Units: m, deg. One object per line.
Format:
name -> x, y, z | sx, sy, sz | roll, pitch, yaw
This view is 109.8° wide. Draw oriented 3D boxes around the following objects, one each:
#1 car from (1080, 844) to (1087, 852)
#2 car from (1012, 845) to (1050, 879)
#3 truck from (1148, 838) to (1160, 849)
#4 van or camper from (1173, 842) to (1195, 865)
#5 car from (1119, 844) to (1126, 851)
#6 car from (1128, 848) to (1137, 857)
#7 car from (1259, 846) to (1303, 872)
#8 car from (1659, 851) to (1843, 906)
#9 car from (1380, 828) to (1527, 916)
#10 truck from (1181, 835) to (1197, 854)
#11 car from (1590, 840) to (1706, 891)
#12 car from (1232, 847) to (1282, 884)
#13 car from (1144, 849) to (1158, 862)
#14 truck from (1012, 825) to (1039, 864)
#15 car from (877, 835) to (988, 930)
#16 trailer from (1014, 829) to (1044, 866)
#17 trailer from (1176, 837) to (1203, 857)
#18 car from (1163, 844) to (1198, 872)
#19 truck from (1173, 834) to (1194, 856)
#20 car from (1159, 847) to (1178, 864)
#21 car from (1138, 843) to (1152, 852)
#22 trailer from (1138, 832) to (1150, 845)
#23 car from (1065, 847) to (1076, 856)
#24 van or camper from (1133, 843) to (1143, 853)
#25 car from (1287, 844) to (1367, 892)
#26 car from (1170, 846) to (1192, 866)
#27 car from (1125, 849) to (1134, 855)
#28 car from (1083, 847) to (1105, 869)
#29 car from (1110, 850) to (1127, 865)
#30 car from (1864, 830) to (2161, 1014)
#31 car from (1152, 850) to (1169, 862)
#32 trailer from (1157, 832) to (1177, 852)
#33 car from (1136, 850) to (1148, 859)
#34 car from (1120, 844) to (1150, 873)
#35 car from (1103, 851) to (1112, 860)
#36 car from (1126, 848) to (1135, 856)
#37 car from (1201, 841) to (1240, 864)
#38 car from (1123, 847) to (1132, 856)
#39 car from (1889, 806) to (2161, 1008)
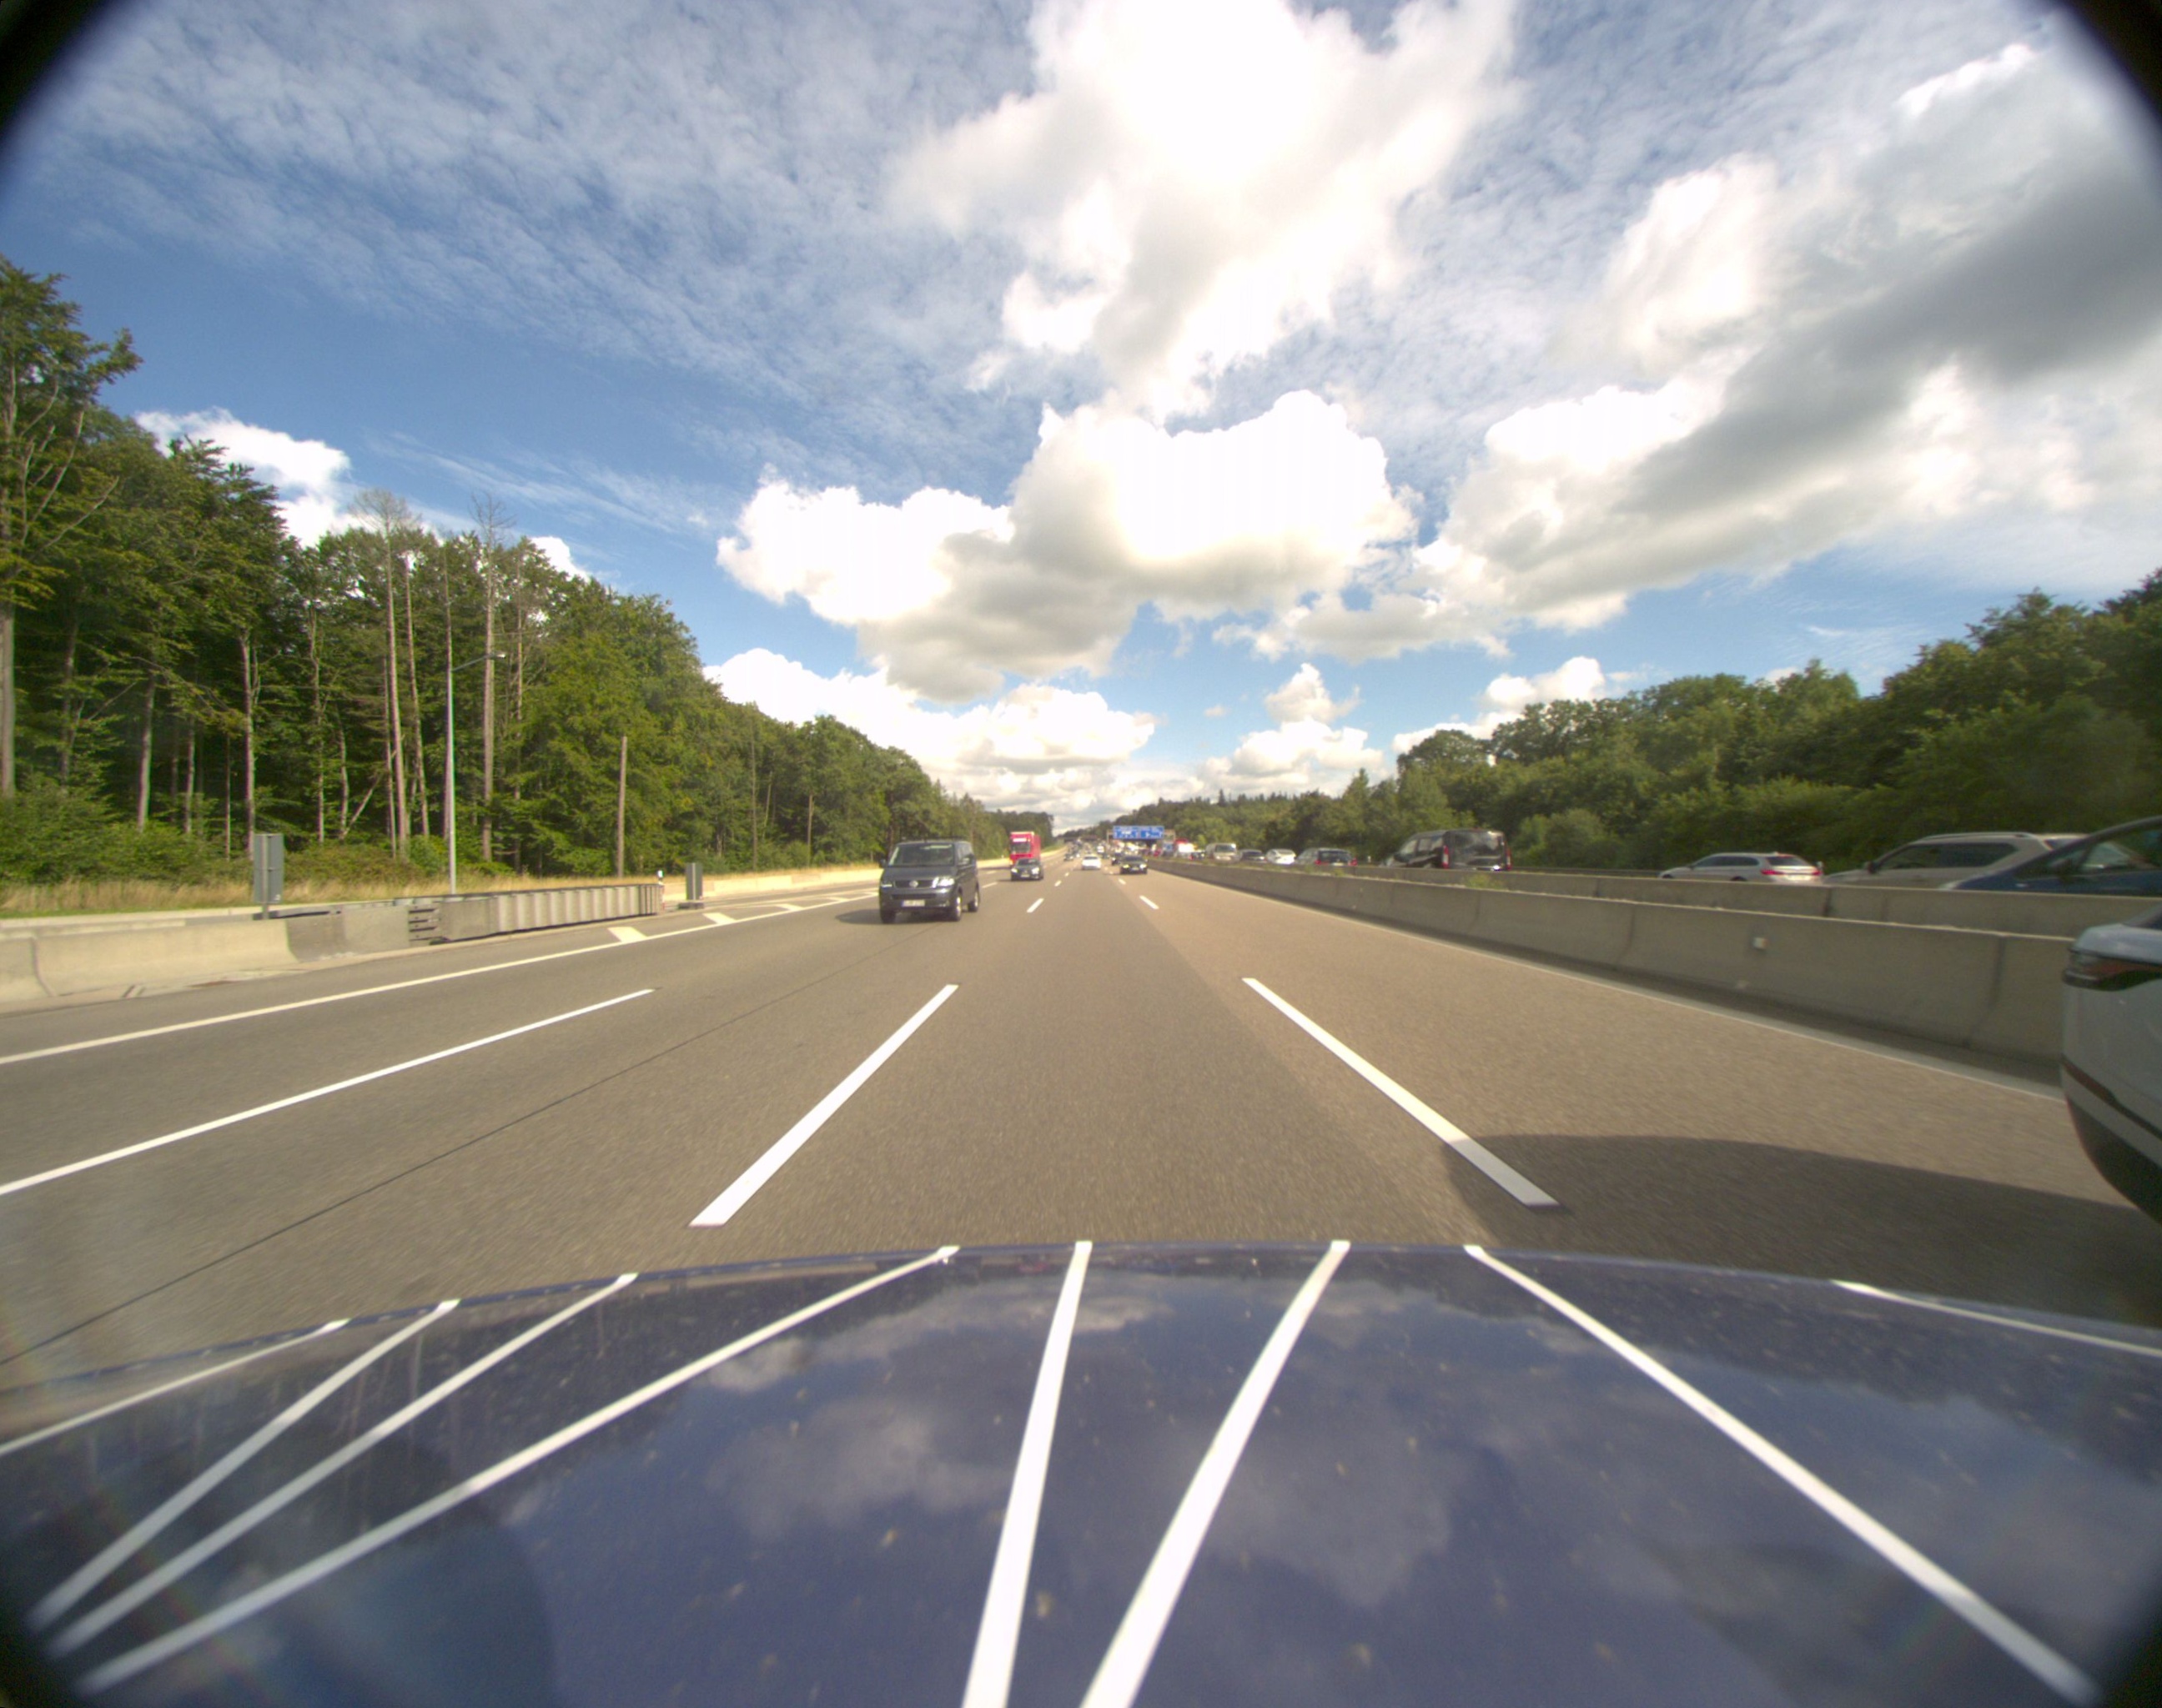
car -> 0.582, -1.580, 198.054 | 1.804, 1.865, 3.950 | -1, 1, 1
car -> -3.078, 0.485, 47.835 | 1.998, 2.002, 4.000 | 0, 0, 2
truck -> 19.274, -2.761, 199.866 | 2.334, 2.785, 7.947 | -3, 1, 0
van or camper -> 14.773, -0.063, 109.138 | 2.144, 3.154, 6.243 | -3, 1, 0
car -> 13.427, -2.096, 244.880 | 1.998, 2.088, 5.276 | -2, 2, 1
car -> 11.615, -0.250, 170.754 | 1.691, 1.806, 4.294 | -2, 2, 0
car -> 14.410, 0.299, 54.935 | 1.998, 1.723, 4.762 | -2, 1, 2
car -> 21.697, 0.705, 24.956 | 1.716, 1.393, 5.071 | -2, 2, 2
car -> 9.689, 0.356, 20.203 | 1.821, 2.002, 4.451 | -2, 2, 2
truck -> 25.143, -2.231, 177.069 | 2.819, 4.126, 5.451 | -2, 2, 0
car -> 26.177, 0.621, 35.309 | 1.998, 2.000, 4.463 | -2, -5, 2
car -> 10.325, 0.623, 44.949 | 1.998, 1.894, 4.458 | -3, 1, 2
car -> 10.874, 0.184, 118.246 | 1.691, 1.806, 4.294 | -2, 2, 0
truck -> -6.133, -1.057, 85.130 | 2.532, 4.179, 4.652 | -2, 2, 0
car -> -3.704, 0.618, 19.881 | 1.927, 2.153, 4.960 | -1, 1, 0
trailer -> -6.136, -0.929, 92.288 | 2.531, 4.096, 14.372 | -2, 2, 0
trailer -> 19.498, -1.302, 137.214 | 2.735, 3.316, 14.217 | -2, 0, 0
car -> 7.100, 0.263, 54.616 | 1.998, 1.909, 4.000 | -2, 0, 1
truck -> 19.412, -1.744, 144.159 | 2.783, 3.916, 6.851 | -2, 1, 0
car -> 10.573, 0.196, 92.306 | 1.887, 2.002, 4.519 | 0, 0, 2
car -> 10.790, -1.062, 128.121 | 1.819, 1.341, 6.231 | -3, 1, 0
trailer -> 20.920, -5.065, 252.697 | 2.837, 3.953, 15.999 | -2, 2, 1
car -> -2.041, -0.450, 144.451 | 1.911, 1.582, 4.285 | -2, 2, -2
van or camper -> 16.922, -1.800, 225.247 | 2.397, 2.696, 6.629 | -2, 2, 1
car -> 10.291, 0.518, 32.134 | 1.998, 1.749, 4.457 | -2, 2, 2
car -> 10.653, 0.187, 81.208 | 1.910, 2.002, 5.091 | 0, 0, 2
car -> 11.174, -0.548, 174.713 | 1.761, 1.369, 4.000 | -1, 0, 0
car -> 1.216, 0.331, 71.407 | 1.998, 2.002, 4.000 | 0, 0, 2
car -> 4.493, 0.417, 91.566 | 1.911, 1.582, 4.286 | -2, 2, 1
car -> 13.432, 0.751, 9.871 | 1.998, 2.002, 4.457 | -3, 2, 2
car -> 11.222, 0.255, 107.356 | 1.841, 1.582, 4.288 | 4, 1, 0
trailer -> 19.588, -2.872, 173.633 | 2.778, 4.211, 13.654 | -2, 2, 0
car -> 10.823, 0.070, 135.661 | 1.728, 1.594, 3.999 | -3, 1, 0
car -> 3.907, 0.313, 55.339 | 1.919, 2.002, 4.000 | -2, 1, 2
car -> 5.495, 0.298, 157.321 | 1.804, 1.783, 3.757 | -1, 1, 1
car -> 12.390, -0.533, 189.822 | 1.998, 1.733, 4.294 | -3, 1, 0
car -> 10.180, -0.137, 55.779 | 1.998, 1.563, 4.815 | -2, 0, 2
car -> 11.511, -0.618, 187.488 | 1.998, 2.002, 4.408 | -1, 2, 1
car -> 10.364, 0.435, 6.679 | 1.862, 1.753, 4.458 | -2, 1, 2
